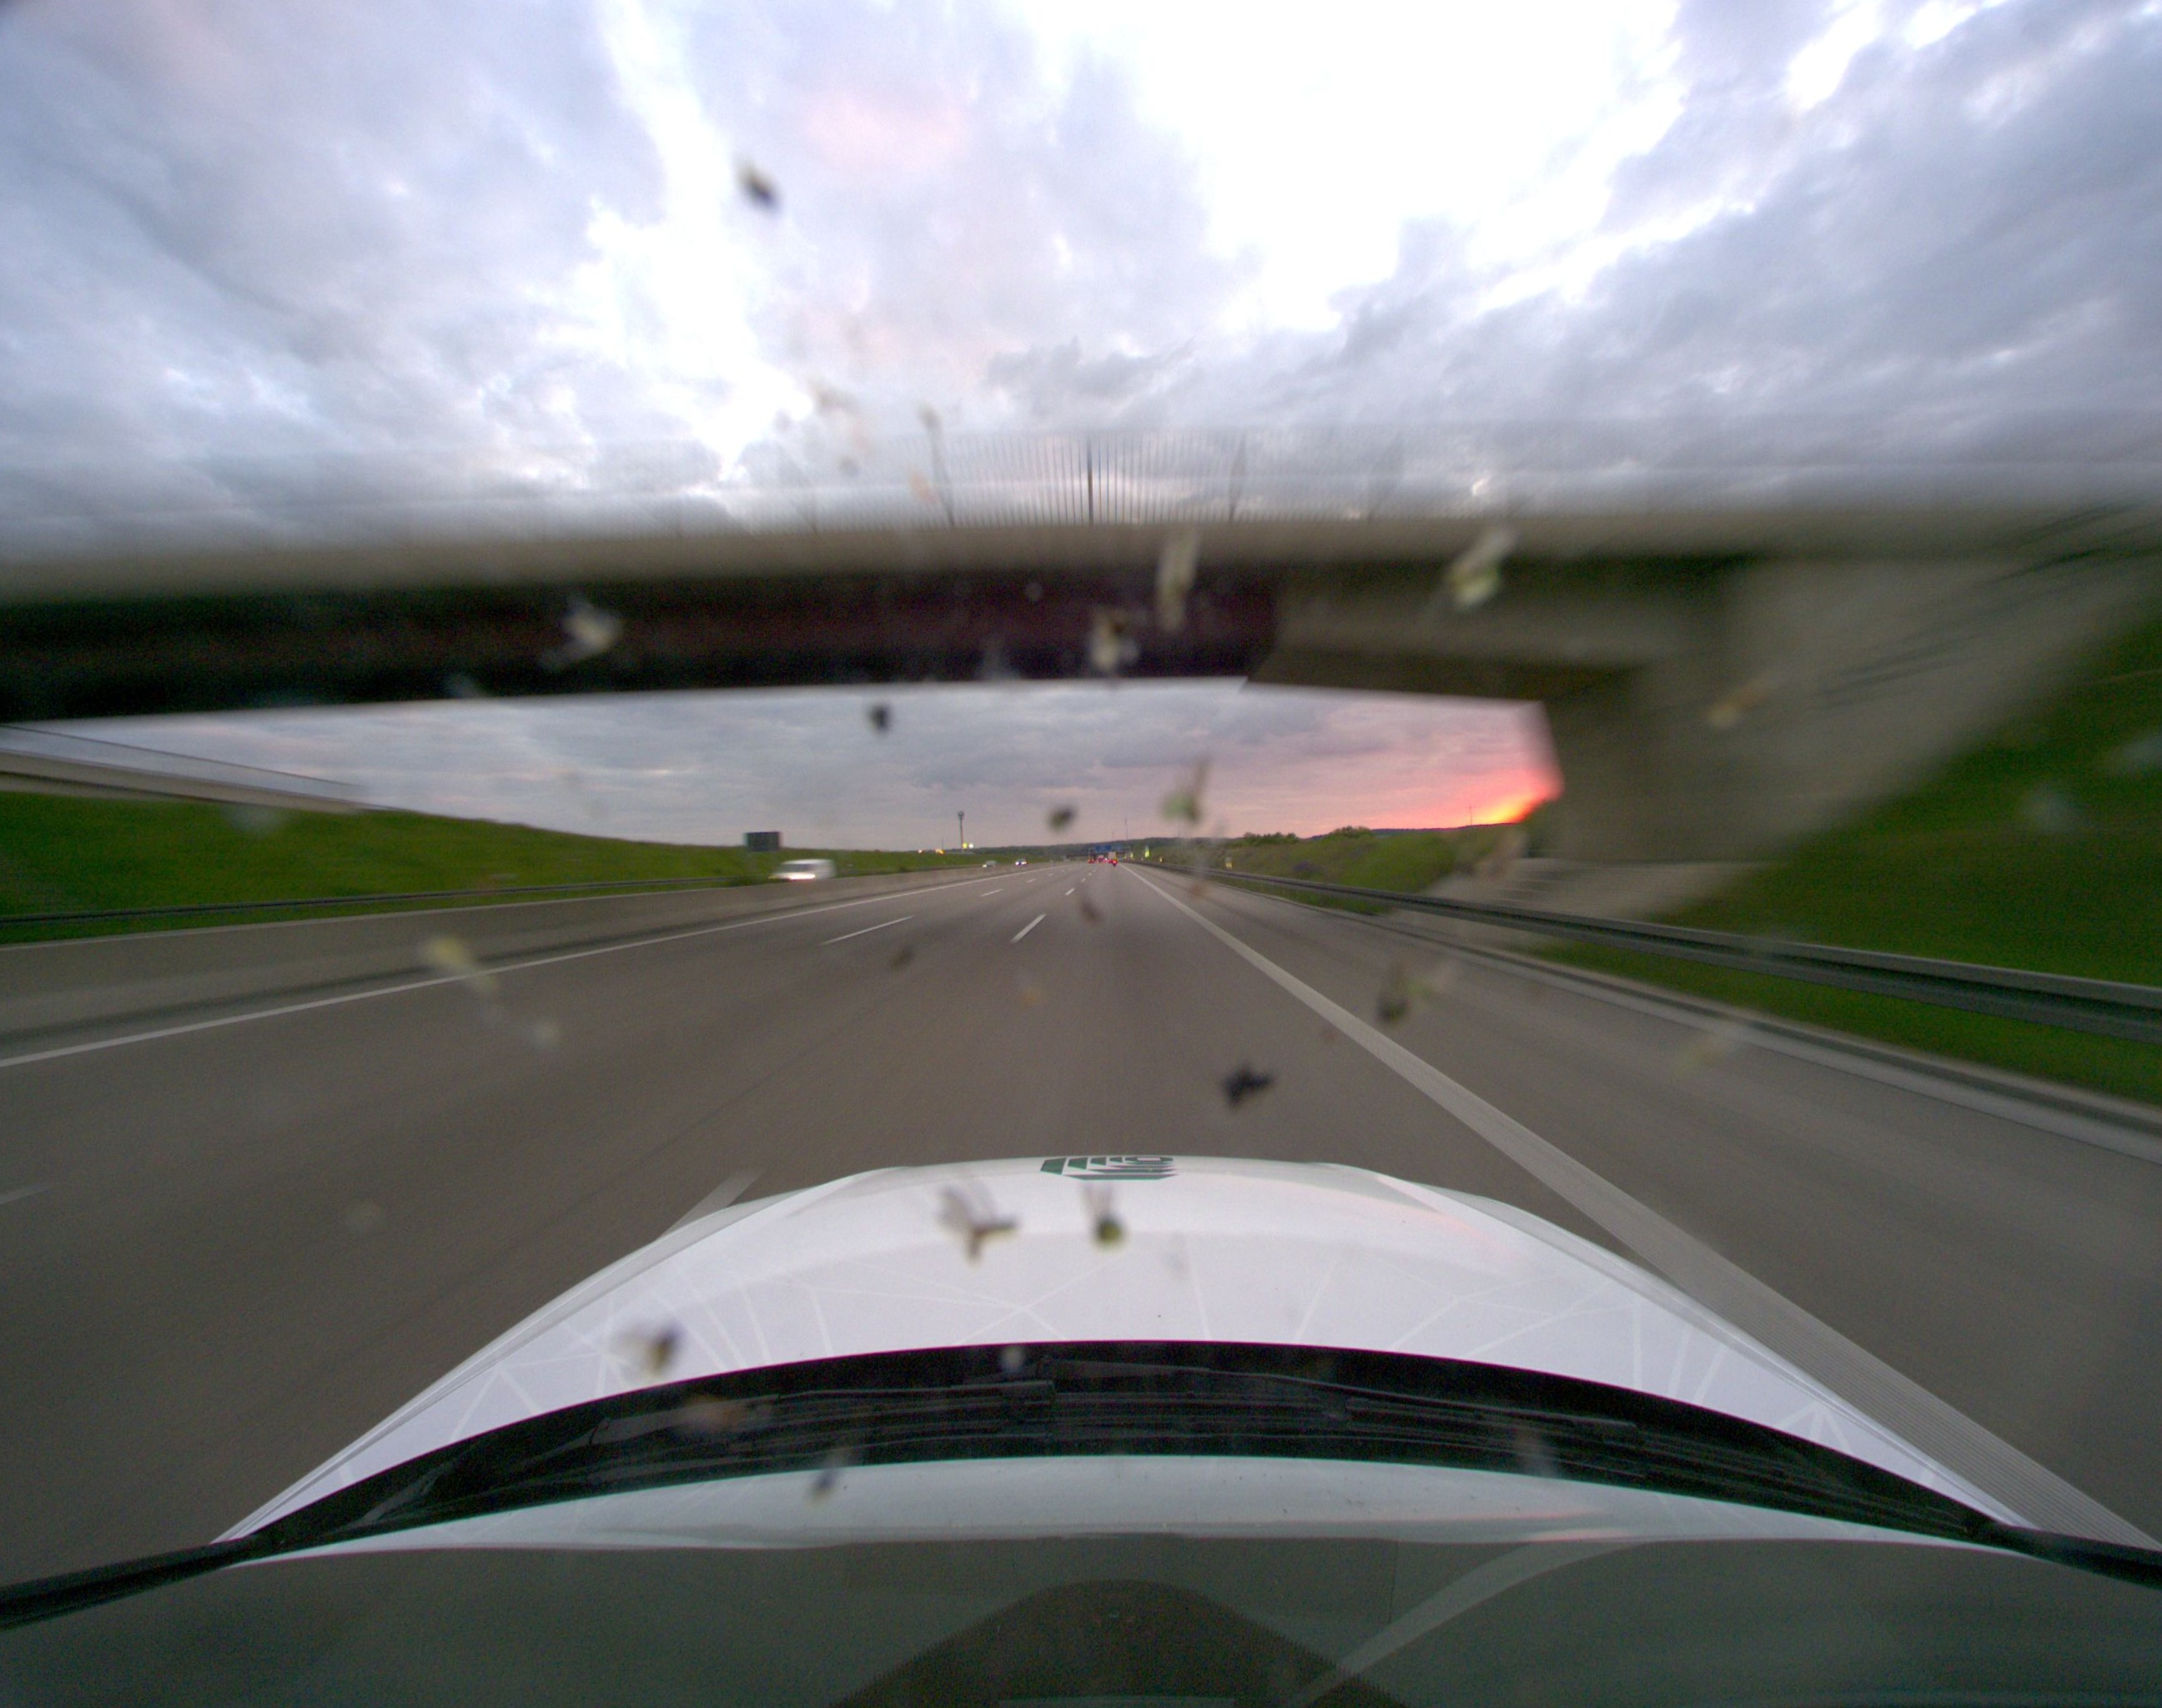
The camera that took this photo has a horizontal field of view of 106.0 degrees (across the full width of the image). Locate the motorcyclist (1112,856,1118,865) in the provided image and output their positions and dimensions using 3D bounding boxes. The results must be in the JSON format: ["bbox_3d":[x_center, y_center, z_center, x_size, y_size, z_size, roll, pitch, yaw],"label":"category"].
[{"bbox_3d":[5.202,1.011,125.255,0.862,1.488,1.169,0,0,3],"label":"motorcyclist"}]

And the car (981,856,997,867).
[{"bbox_3d":[-14.919,1.211,132.068,1.818,1.662,4.653,0,0,2],"label":"car"}]

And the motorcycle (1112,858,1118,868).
[{"bbox_3d":[5.228,1.390,125.506,0.898,1.346,2.350,-2,0,2],"label":"motorcycle"}]

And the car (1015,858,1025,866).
[{"bbox_3d":[-15.163,2.015,204.111,1.986,1.936,5.091,0,0,1],"label":"car"}]

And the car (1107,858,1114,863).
[{"bbox_3d":[9.329,2.151,258.934,1.911,1.579,4.001,-2,-1,1],"label":"car"}]

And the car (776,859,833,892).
[{"bbox_3d":[-17.145,1.270,50.745,1.817,1.935,4.894,0,0,1],"label":"car"}]
